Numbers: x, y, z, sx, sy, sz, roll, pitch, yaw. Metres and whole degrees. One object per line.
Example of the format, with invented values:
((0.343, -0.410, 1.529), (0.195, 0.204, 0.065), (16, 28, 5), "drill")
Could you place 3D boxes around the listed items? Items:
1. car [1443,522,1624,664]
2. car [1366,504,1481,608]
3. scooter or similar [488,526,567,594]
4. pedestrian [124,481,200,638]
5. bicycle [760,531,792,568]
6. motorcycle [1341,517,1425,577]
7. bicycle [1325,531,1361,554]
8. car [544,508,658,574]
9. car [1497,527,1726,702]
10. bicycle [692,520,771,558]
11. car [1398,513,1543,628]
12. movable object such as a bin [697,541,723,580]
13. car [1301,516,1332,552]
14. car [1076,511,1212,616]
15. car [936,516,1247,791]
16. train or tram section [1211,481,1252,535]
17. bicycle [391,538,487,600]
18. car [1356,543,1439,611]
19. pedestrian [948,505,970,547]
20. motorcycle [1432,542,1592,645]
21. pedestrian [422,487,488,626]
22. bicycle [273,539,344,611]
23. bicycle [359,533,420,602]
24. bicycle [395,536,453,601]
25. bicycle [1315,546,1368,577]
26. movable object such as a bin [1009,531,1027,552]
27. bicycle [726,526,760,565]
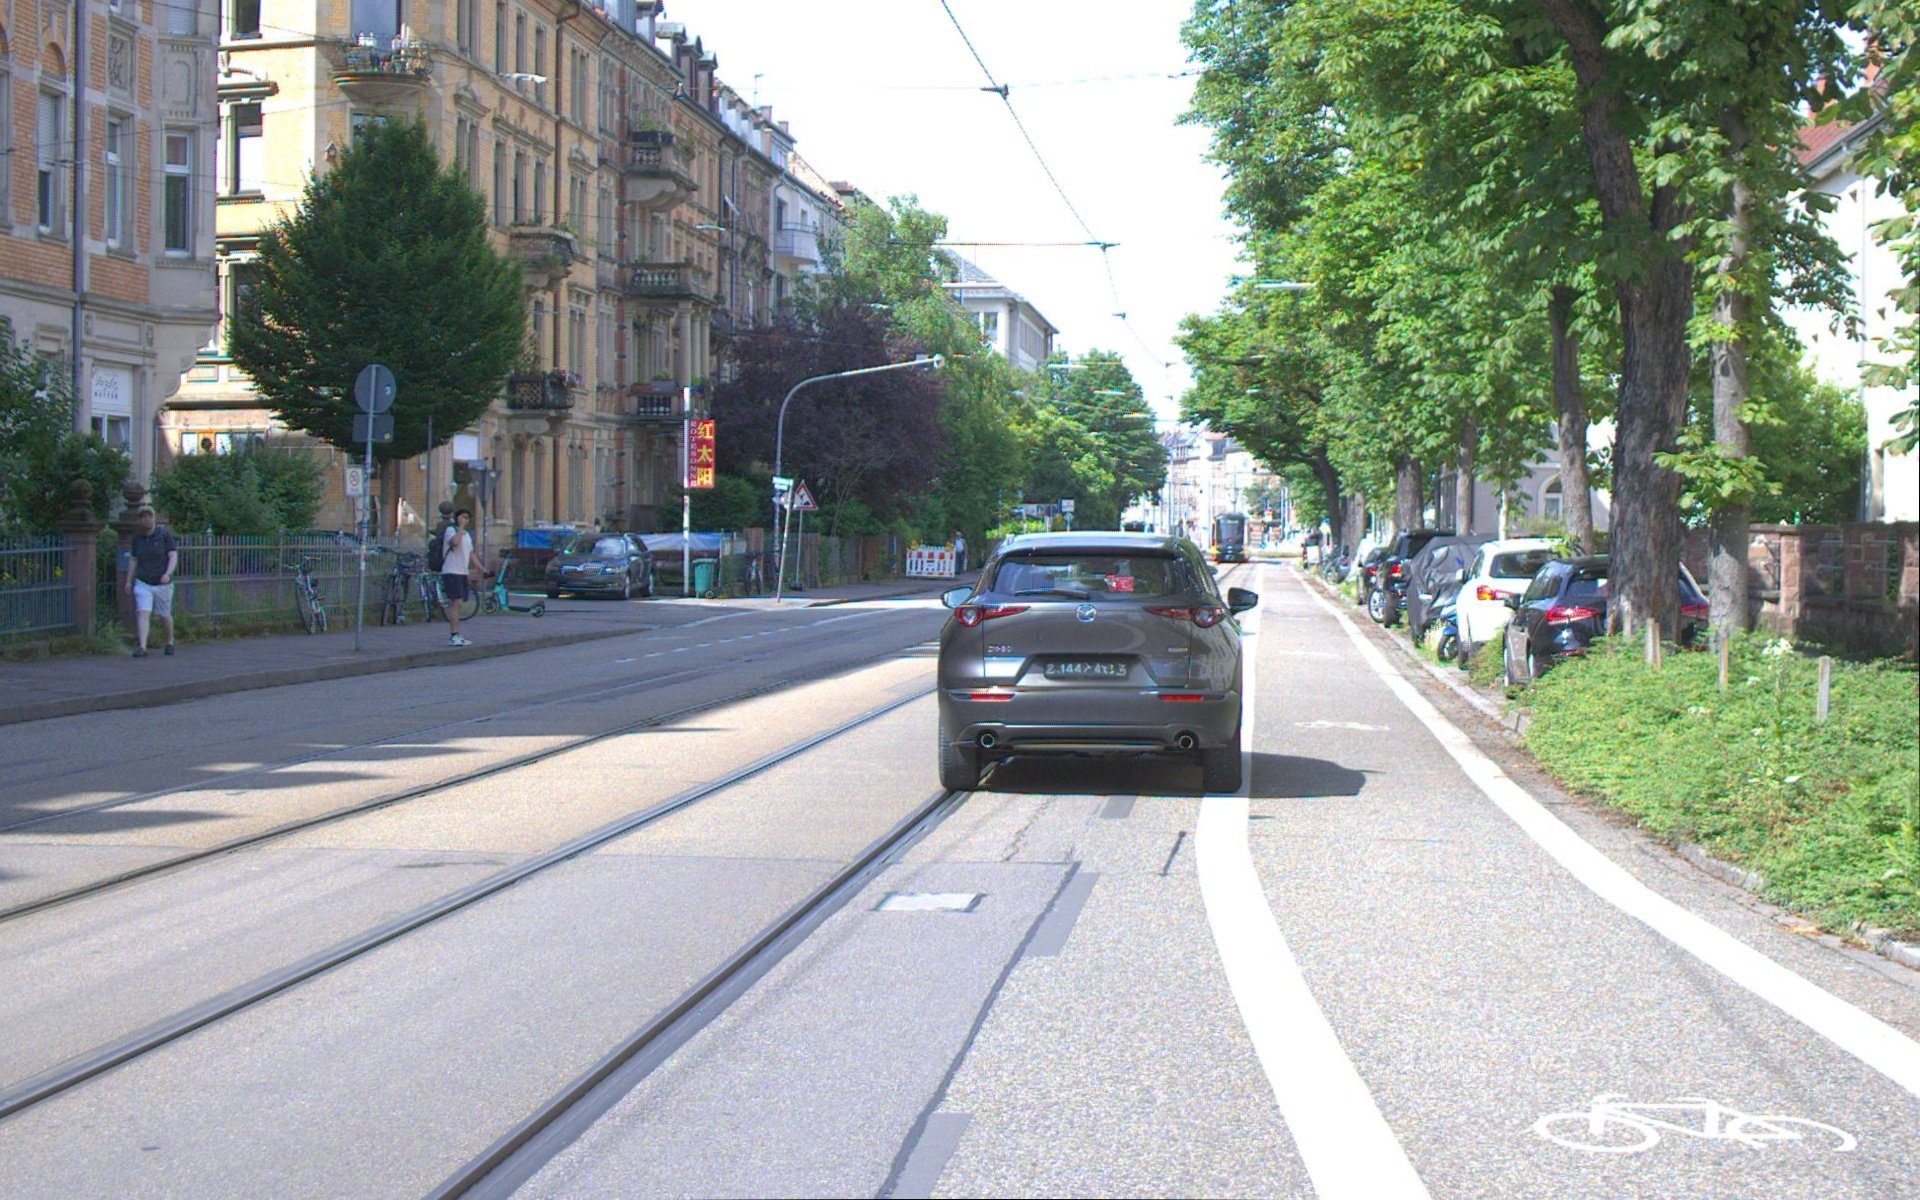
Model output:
((6.848, -0.129, 41.395), (1.742, 1.575, 4.248), (1, 1, 4), "car")
((8.342, -0.833, 62.207), (1.827, 1.776, 4.732), (1, 2, 5), "car")
((-7.982, -0.736, 63.412), (1.361, 1.230, 0.404), (1, 1, -23), "scooter or similar")
((-8.767, -0.455, 37.806), (0.487, 1.697, 1.151), (1, 1, 3), "pedestrian")
((-4.738, -1.304, 88.564), (0.530, 0.943, 1.968), (1, 1, 5), "bicycle")
((11.956, -1.499, 97.225), (2.386, 1.591, 0.677), (4, 3, 44), "motorcycle")
((16.355, -2.449, 146.821), (1.492, 0.980, 0.259), (0, 1, 8), "bicycle")
((-8.160, -1.364, 78.479), (1.686, 1.454, 4.764), (0, 1, 5), "car")
((6.156, 0.083, 32.885), (1.661, 1.516, 4.287), (1, 1, 4), "car")
((-5.786, -1.544, 87.065), (1.961, 0.943, 0.532), (0, 1, 1), "bicycle")
((7.749, -0.484, 52.520), (1.863, 1.647, 4.637), (1, 1, 5), "car")
((-5.858, -0.924, 80.486), (0.525, 0.902, 0.636), (0, 1, 4), "movable object such as a bin")
((20.265, -3.756, 195.484), (1.721, 1.962, 4.206), (1, 1, 6), "car")
((3.005, -0.609, 55.408), (1.994, 1.523, 3.999), (3, 1, 5), "car")
((0.883, 0.256, 21.128), (1.721, 1.521, 3.589), (1, 1, 5), "car")
((19.427, -6.569, 246.287), (2.572, 3.759, 13.025), (1, 2, 3), "train or tram section")
((-8.279, -0.492, 54.604), (1.453, 0.973, 0.404), (1, 2, 5), "bicycle")
((10.377, -0.574, 81.745), (1.706, 1.474, 4.196), (3, 1, 5), "car")
((-0.052, -2.979, 138.670), (0.822, 1.700, 0.891), (1, 1, 2), "pedestrian")
((7.357, -0.088, 45.864), (2.006, 1.332, 0.747), (1, 1, 2), "motorcycle")
((-6.549, -0.574, 44.585), (0.533, 1.754, 1.105), (3, 1, 5), "pedestrian")
((-8.700, -0.347, 45.931), (0.421, 0.929, 1.949), (1, 1, 5), "bicycle")
((-8.359, -0.487, 50.441), (0.421, 0.973, 1.949), (1, 1, 5), "bicycle")
((-8.188, -0.491, 52.568), (0.421, 0.973, 1.949), (1, 1, 5), "bicycle")
((14.722, -1.484, 132.659), (1.938, 1.172, 0.512), (0, 0, 17), "bicycle")
((2.837, -2.889, 169.020), (0.745, 0.984, 1.114), (3, 1, 5), "movable object such as a bin")
((-5.318, -1.345, 84.189), (0.530, 0.943, 1.968), (1, 1, 5), "bicycle")
